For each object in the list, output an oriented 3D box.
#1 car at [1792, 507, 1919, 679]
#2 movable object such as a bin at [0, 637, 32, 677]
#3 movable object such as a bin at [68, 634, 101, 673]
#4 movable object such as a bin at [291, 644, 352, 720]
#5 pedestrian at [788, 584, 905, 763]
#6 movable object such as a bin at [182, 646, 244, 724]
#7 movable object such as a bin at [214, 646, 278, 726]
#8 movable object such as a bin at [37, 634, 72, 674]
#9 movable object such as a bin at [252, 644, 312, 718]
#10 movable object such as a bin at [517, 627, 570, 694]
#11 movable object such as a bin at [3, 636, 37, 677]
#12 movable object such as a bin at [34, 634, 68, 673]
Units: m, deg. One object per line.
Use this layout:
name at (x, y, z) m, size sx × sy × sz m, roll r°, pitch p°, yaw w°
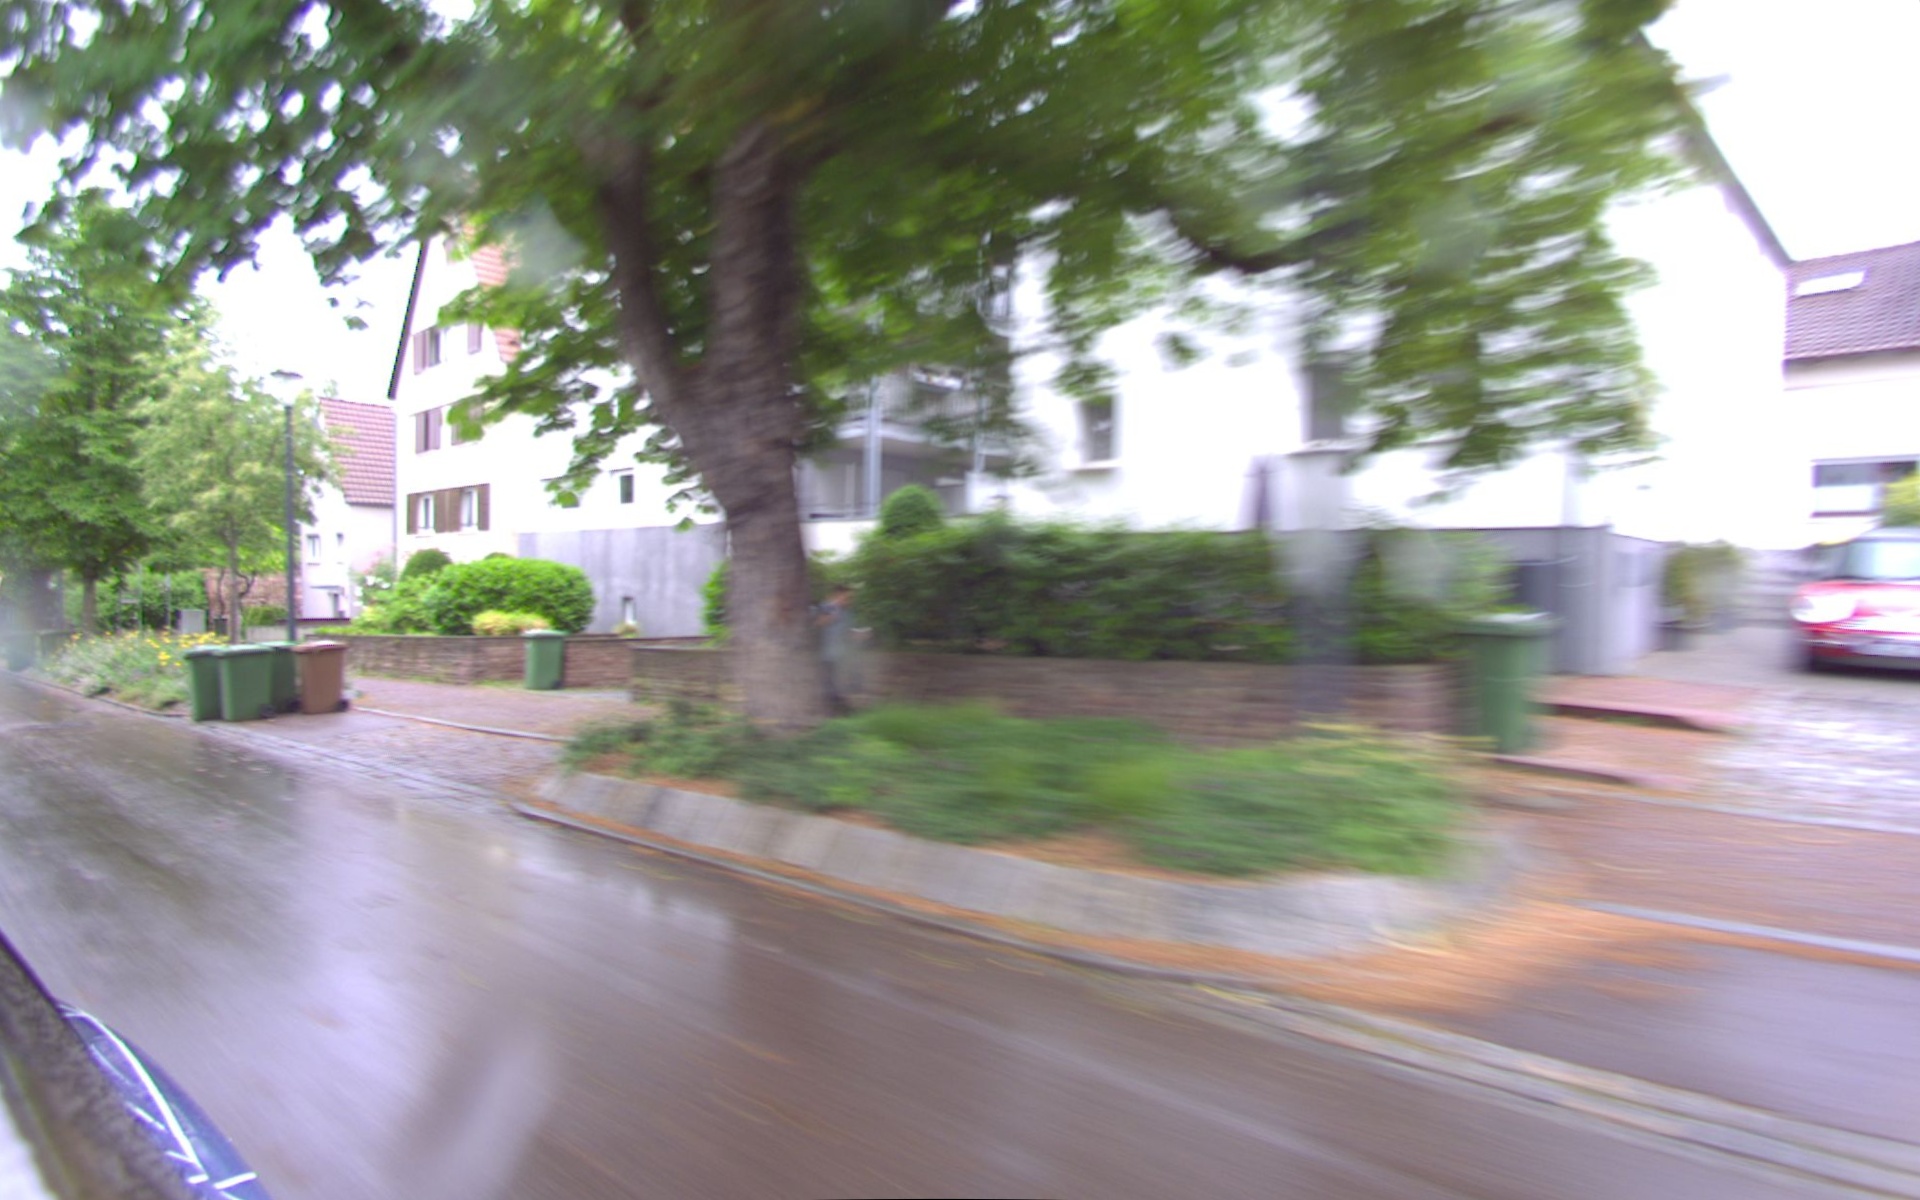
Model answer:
car at (10.092, -0.181, 10.569) m, size 1.891 × 1.507 × 3.670 m, roll 2°, pitch 6°, yaw 43°
movable object such as a bin at (-26.646, 1.588, 28.522) m, size 0.564 × 1.067 × 0.622 m, roll -1°, pitch 2°, yaw 40°
movable object such as a bin at (-25.255, 1.525, 29.200) m, size 0.560 × 1.067 × 0.611 m, roll -1°, pitch 2°, yaw 40°
movable object such as a bin at (-9.628, 1.218, 15.257) m, size 0.655 × 1.082 × 0.596 m, roll 1°, pitch -1°, yaw -45°
pedestrian at (-1.089, 0.666, 9.680) m, size 0.931 × 1.606 × 0.643 m, roll -1°, pitch 0°, yaw 41°
movable object such as a bin at (-10.978, 1.232, 14.874) m, size 0.655 × 1.082 × 0.596 m, roll 1°, pitch -1°, yaw -45°
movable object such as a bin at (-10.292, 1.221, 14.594) m, size 0.655 × 1.075 × 0.596 m, roll 1°, pitch -1°, yaw -45°
movable object such as a bin at (-25.666, 1.530, 28.688) m, size 0.568 × 1.067 × 0.611 m, roll -1°, pitch 2°, yaw 40°
movable object such as a bin at (-10.379, 1.223, 15.498) m, size 0.655 × 1.082 × 0.596 m, roll 1°, pitch -1°, yaw -45°
movable object such as a bin at (-7.446, 1.058, 18.072) m, size 0.659 × 1.141 × 0.655 m, roll -1°, pitch 0°, yaw 43°
movable object such as a bin at (-26.119, 1.553, 28.115) m, size 0.570 × 1.085 × 0.578 m, roll -1°, pitch 2°, yaw 39°
movable object such as a bin at (-26.150, 1.539, 29.108) m, size 0.581 × 1.069 × 0.617 m, roll -1°, pitch 2°, yaw 40°
